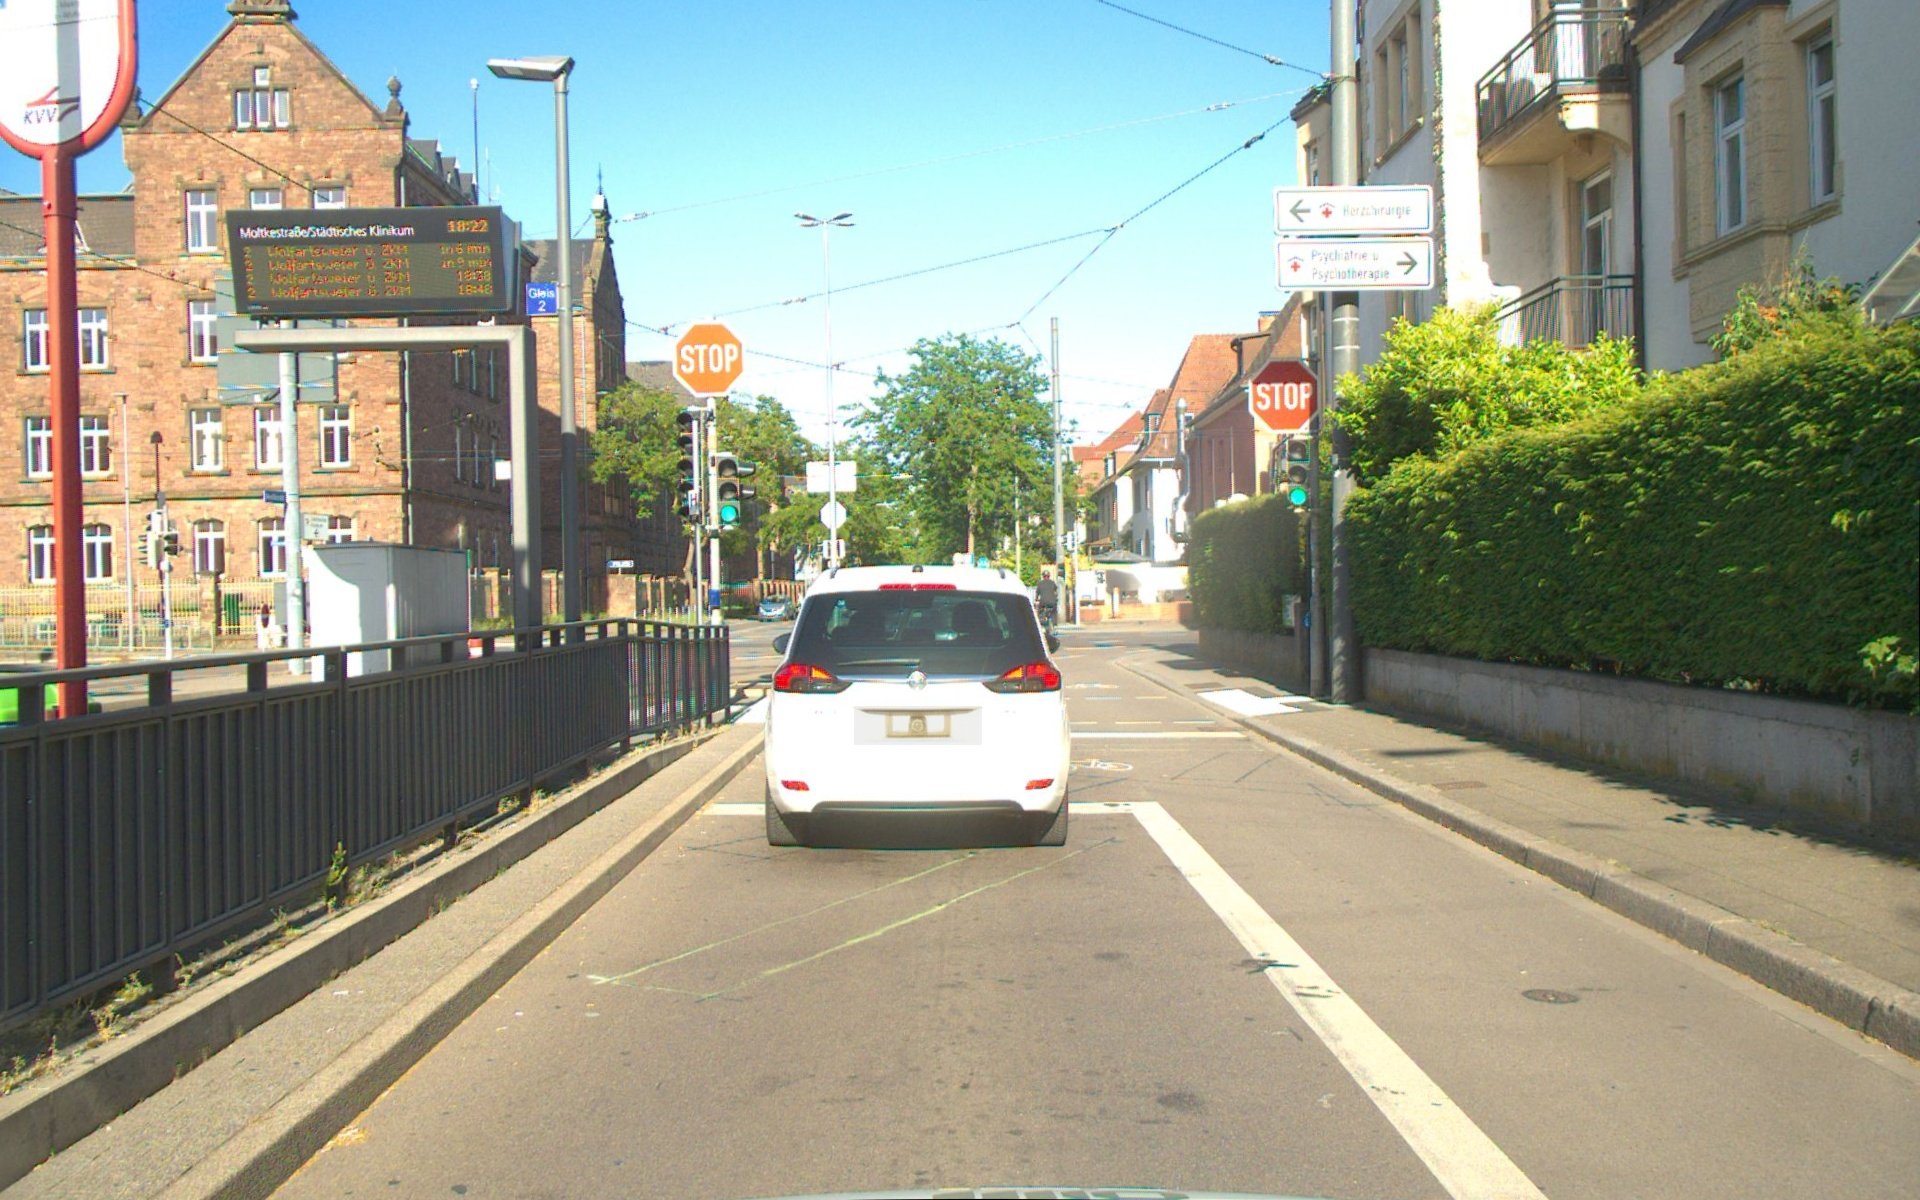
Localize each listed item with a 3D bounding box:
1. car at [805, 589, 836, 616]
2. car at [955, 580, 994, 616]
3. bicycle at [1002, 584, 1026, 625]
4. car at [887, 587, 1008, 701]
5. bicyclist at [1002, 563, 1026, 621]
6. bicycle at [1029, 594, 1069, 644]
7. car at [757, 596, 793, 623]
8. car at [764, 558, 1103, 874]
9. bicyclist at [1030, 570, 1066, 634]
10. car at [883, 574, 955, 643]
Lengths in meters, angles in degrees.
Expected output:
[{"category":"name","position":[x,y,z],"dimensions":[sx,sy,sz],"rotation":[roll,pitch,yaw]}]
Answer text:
[{"category":"car","position":[-9.579,0.177,113.784],"dimensions":[1.854,1.815,3.879],"rotation":[-1,0,-1]},{"category":"car","position":[0.726,-0.097,80.336],"dimensions":[1.739,1.660,3.882],"rotation":[-1,0,2]},{"category":"bicycle","position":[1.601,0.138,48.968],"dimensions":[0.671,1.177,1.620],"rotation":[-1,0,2]},{"category":"car","position":[-0.110,0.569,23.822],"dimensions":[1.553,1.445,3.901],"rotation":[-2,1,1]},{"category":"bicyclist","position":[1.595,-0.234,48.904],"dimensions":[0.671,1.663,1.016],"rotation":[-1,0,2]},{"category":"bicycle","position":[2.161,0.442,40.360],"dimensions":[0.812,1.175,2.094],"rotation":[-1,0,-1]},{"category":"car","position":[-10.616,0.521,94.945],"dimensions":[1.548,1.466,3.585],"rotation":[-1,0,2]},{"category":"car","position":[-0.132,0.623,10.856],"dimensions":[1.797,1.670,3.918],"rotation":[-1,0,0]},{"category":"bicyclist","position":[2.148,0.046,40.446],"dimensions":[0.804,1.528,0.934],"rotation":[-1,0,-1]},{"category":"car","position":[-1.010,0.210,42.661],"dimensions":[1.739,1.660,3.880],"rotation":[-1,0,0]}]
